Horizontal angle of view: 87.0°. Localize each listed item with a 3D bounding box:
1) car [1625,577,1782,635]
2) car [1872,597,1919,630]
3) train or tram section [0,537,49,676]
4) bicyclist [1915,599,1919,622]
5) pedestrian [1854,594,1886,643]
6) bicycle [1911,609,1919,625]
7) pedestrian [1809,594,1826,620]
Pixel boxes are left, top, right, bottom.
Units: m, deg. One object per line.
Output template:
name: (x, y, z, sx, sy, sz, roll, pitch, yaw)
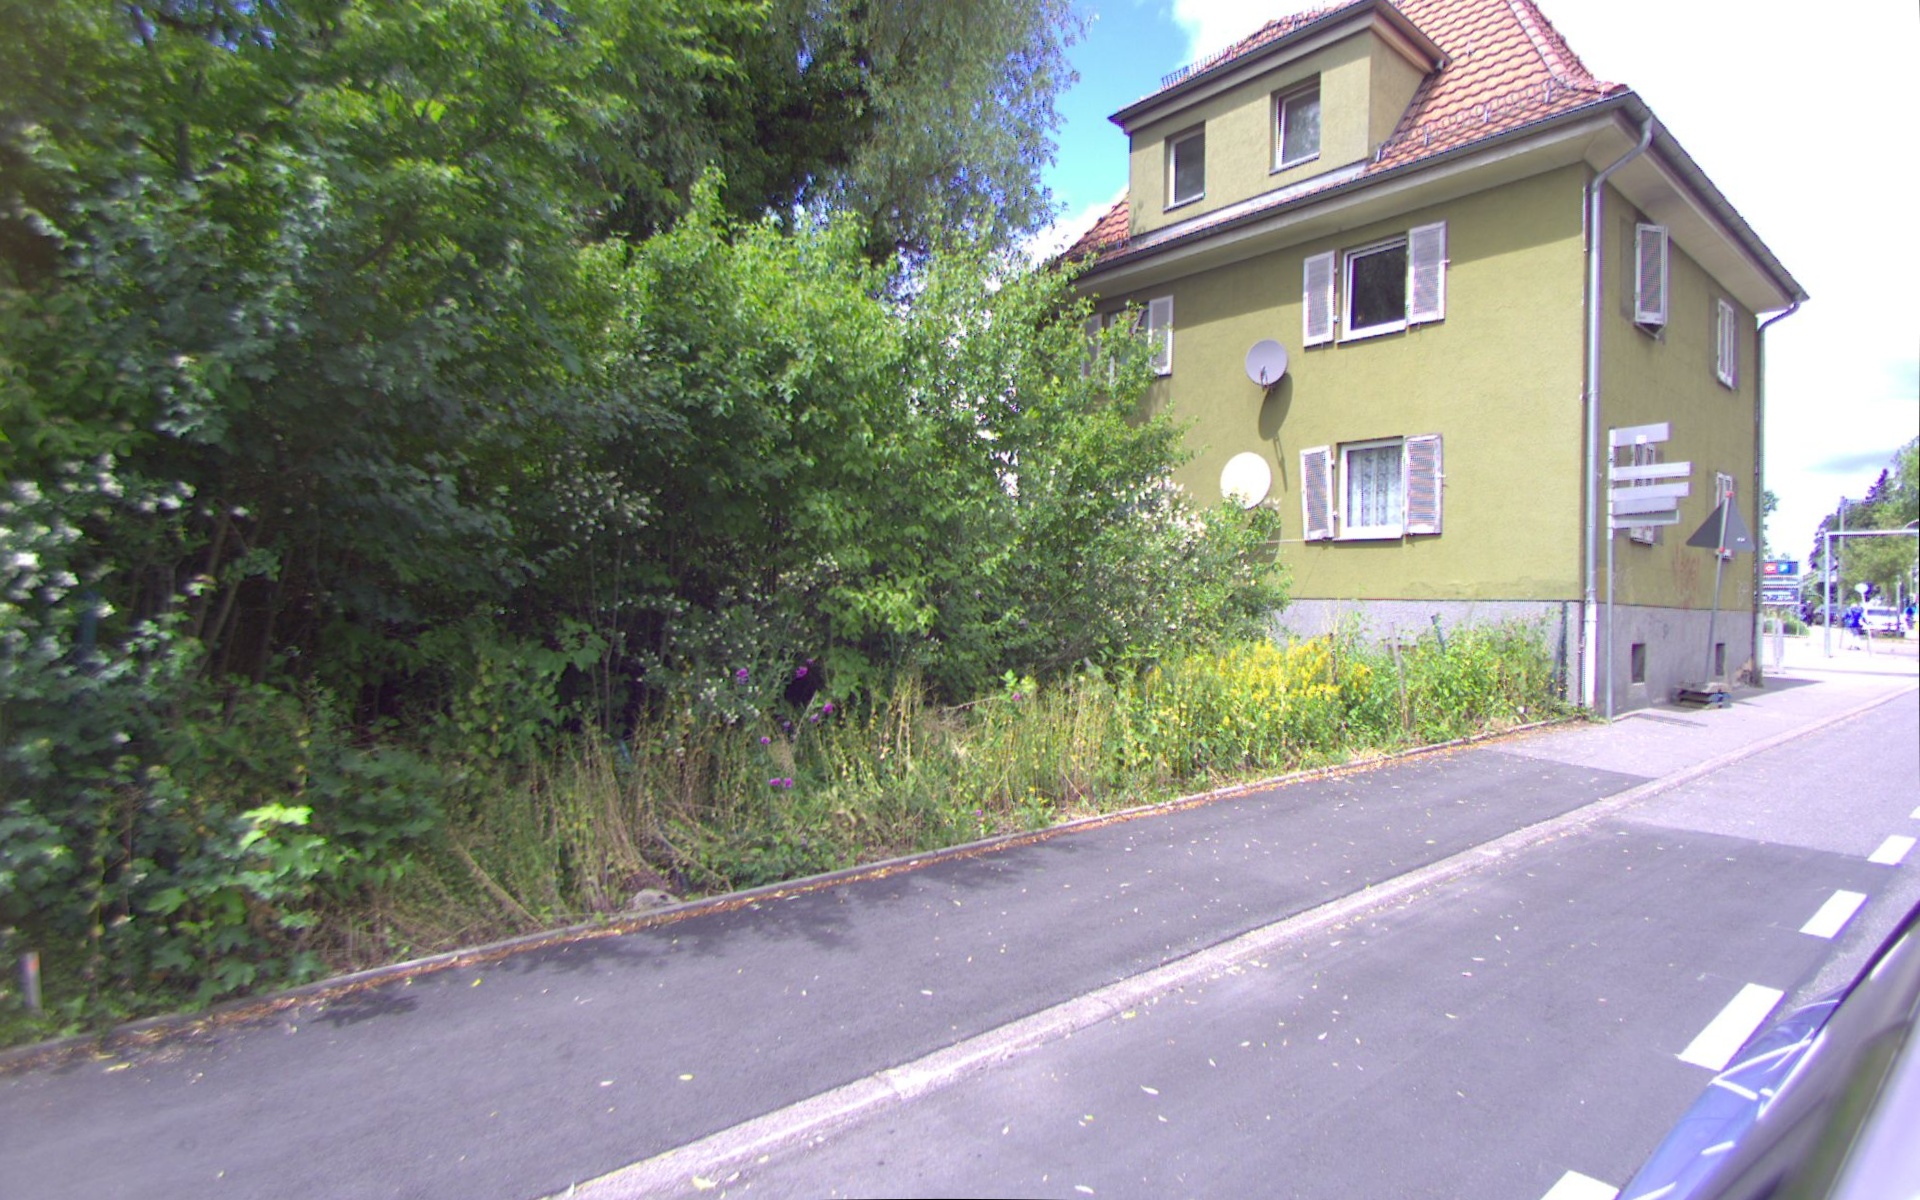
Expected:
car: (27.939, 0.168, 38.181, 1.961, 2.019, 4.374, 0, 1, -32)
car: (47.657, 0.662, 51.255, 3.931, 1.529, 1.797, 0, 2, -42)
train or tram section: (-26.986, 0.159, 25.640, 2.809, 3.769, 7.731, 0, -1, -17)
bicyclist: (67.855, 0.718, 71.110, 0.798, 1.629, 0.766, -1, -2, 21)
pedestrian: (30.474, 0.610, 33.903, 0.726, 1.572, 1.042, 1, 0, 39)
bicycle: (67.870, 1.188, 71.113, 0.804, 1.122, 1.787, -1, -1, 20)
pedestrian: (55.892, 0.475, 65.939, 0.765, 1.683, 0.721, 1, -3, -45)
